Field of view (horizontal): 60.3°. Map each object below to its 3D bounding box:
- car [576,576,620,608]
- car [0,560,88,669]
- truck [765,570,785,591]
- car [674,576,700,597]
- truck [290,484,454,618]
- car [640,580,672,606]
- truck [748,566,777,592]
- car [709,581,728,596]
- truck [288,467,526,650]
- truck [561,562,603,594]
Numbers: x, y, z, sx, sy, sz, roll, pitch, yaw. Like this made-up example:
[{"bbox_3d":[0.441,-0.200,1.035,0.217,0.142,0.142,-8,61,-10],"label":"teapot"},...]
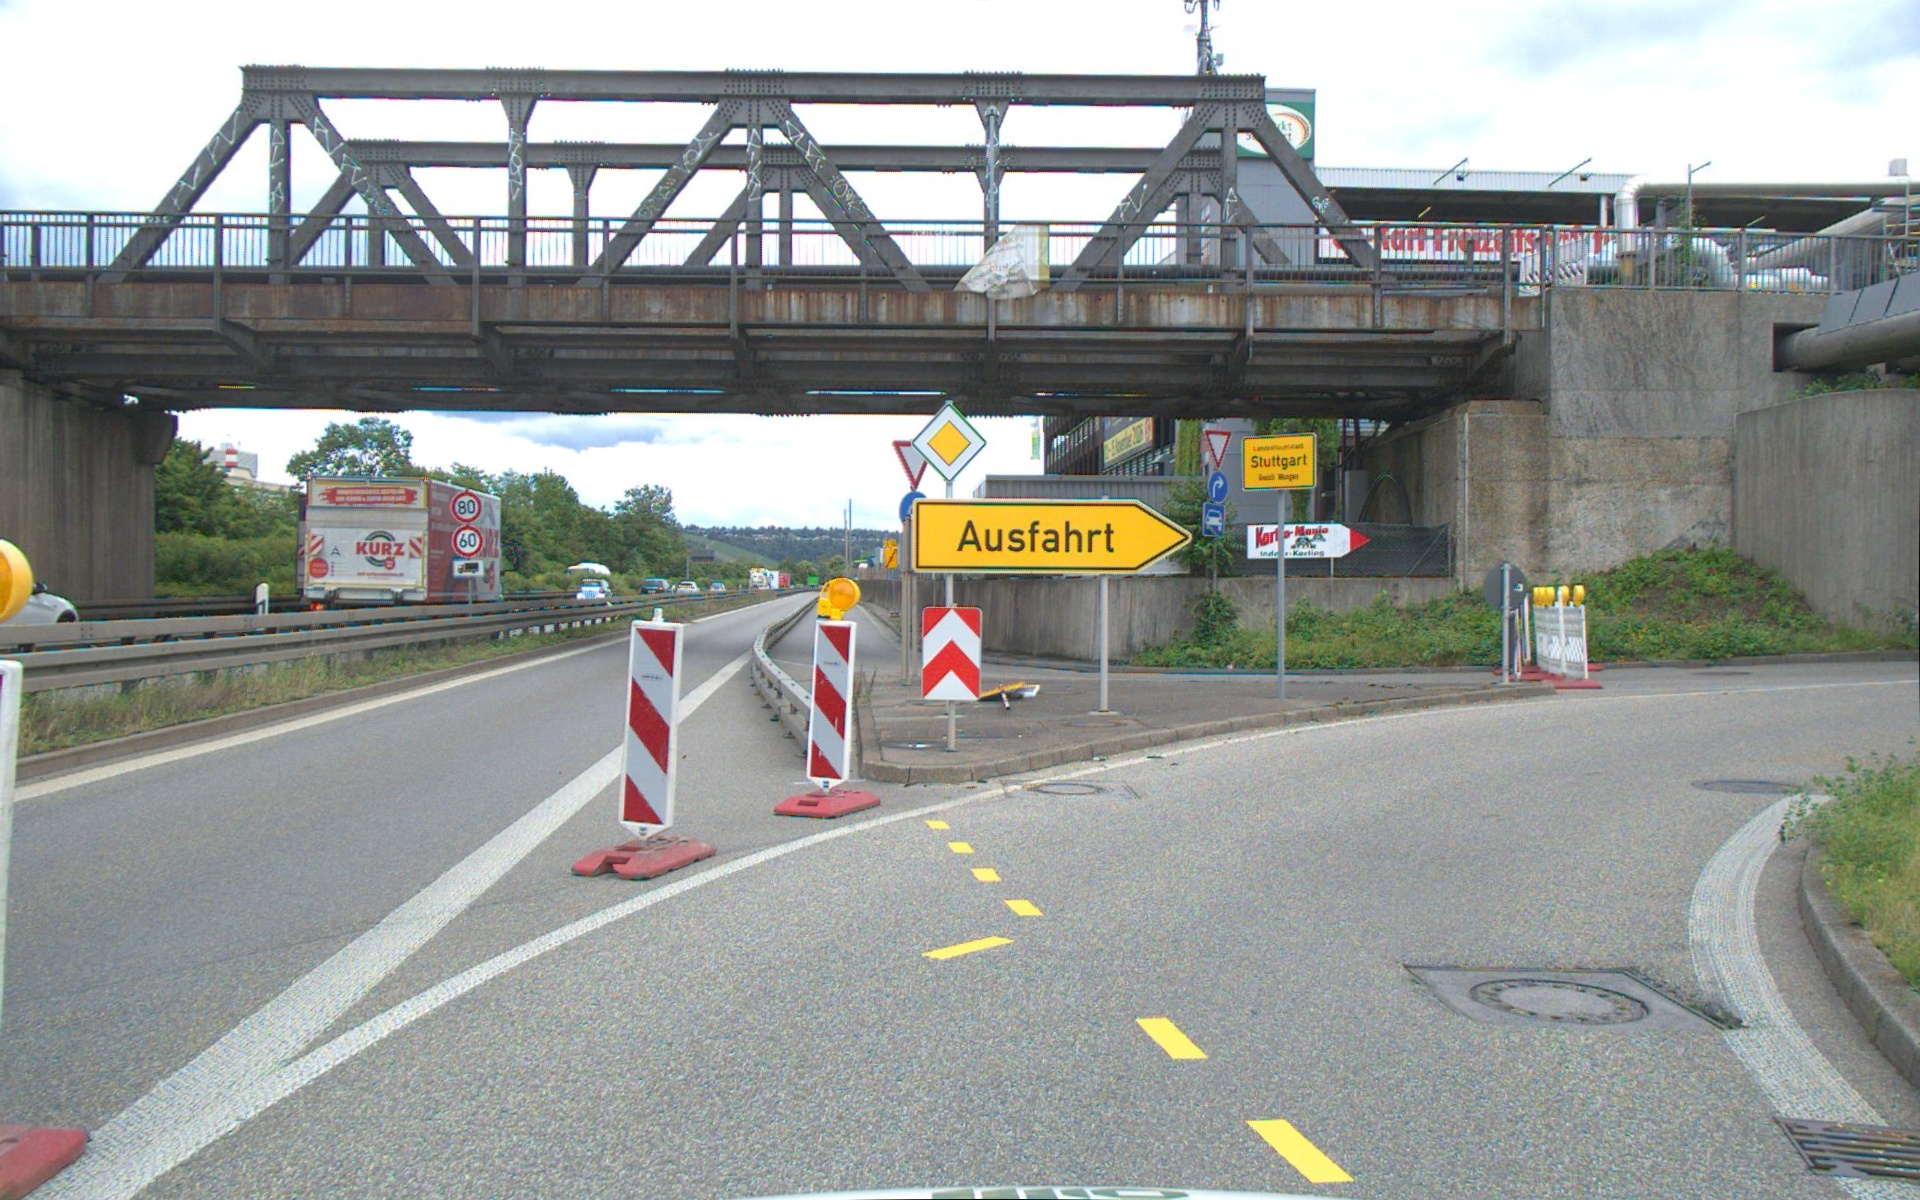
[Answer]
[{"bbox_3d":[-20.395,-0.452,93.344,1.955,1.790,3.995,-1,0,-6],"label":"car"},{"bbox_3d":[-15.648,0.207,26.075,1.818,1.669,4.287,1,0,-5],"label":"car"},{"bbox_3d":[-28.328,-2.961,253.696,2.628,3.195,6.128,1,0,-4],"label":"truck"},{"bbox_3d":[-24.306,-1.183,147.490,1.955,1.847,3.996,1,0,-5],"label":"car"},{"bbox_3d":[-17.123,-1.345,48.693,2.938,3.618,7.728,0,0,-7],"label":"truck"},{"bbox_3d":[-21.917,-0.494,119.355,1.955,1.790,3.996,-1,0,-5],"label":"car"},{"bbox_3d":[-28.079,-2.980,235.376,3.646,3.709,7.722,1,0,-4],"label":"truck"},{"bbox_3d":[-26.969,-1.247,184.953,1.744,1.624,3.747,1,0,-4],"label":"car"},{"bbox_3d":[-12.615,-0.935,38.831,2.895,3.692,10.145,1,1,-5],"label":"truck"},{"bbox_3d":[-36.535,-2.070,160.152,2.446,2.896,7.252,1,0,-1],"label":"truck"}]
